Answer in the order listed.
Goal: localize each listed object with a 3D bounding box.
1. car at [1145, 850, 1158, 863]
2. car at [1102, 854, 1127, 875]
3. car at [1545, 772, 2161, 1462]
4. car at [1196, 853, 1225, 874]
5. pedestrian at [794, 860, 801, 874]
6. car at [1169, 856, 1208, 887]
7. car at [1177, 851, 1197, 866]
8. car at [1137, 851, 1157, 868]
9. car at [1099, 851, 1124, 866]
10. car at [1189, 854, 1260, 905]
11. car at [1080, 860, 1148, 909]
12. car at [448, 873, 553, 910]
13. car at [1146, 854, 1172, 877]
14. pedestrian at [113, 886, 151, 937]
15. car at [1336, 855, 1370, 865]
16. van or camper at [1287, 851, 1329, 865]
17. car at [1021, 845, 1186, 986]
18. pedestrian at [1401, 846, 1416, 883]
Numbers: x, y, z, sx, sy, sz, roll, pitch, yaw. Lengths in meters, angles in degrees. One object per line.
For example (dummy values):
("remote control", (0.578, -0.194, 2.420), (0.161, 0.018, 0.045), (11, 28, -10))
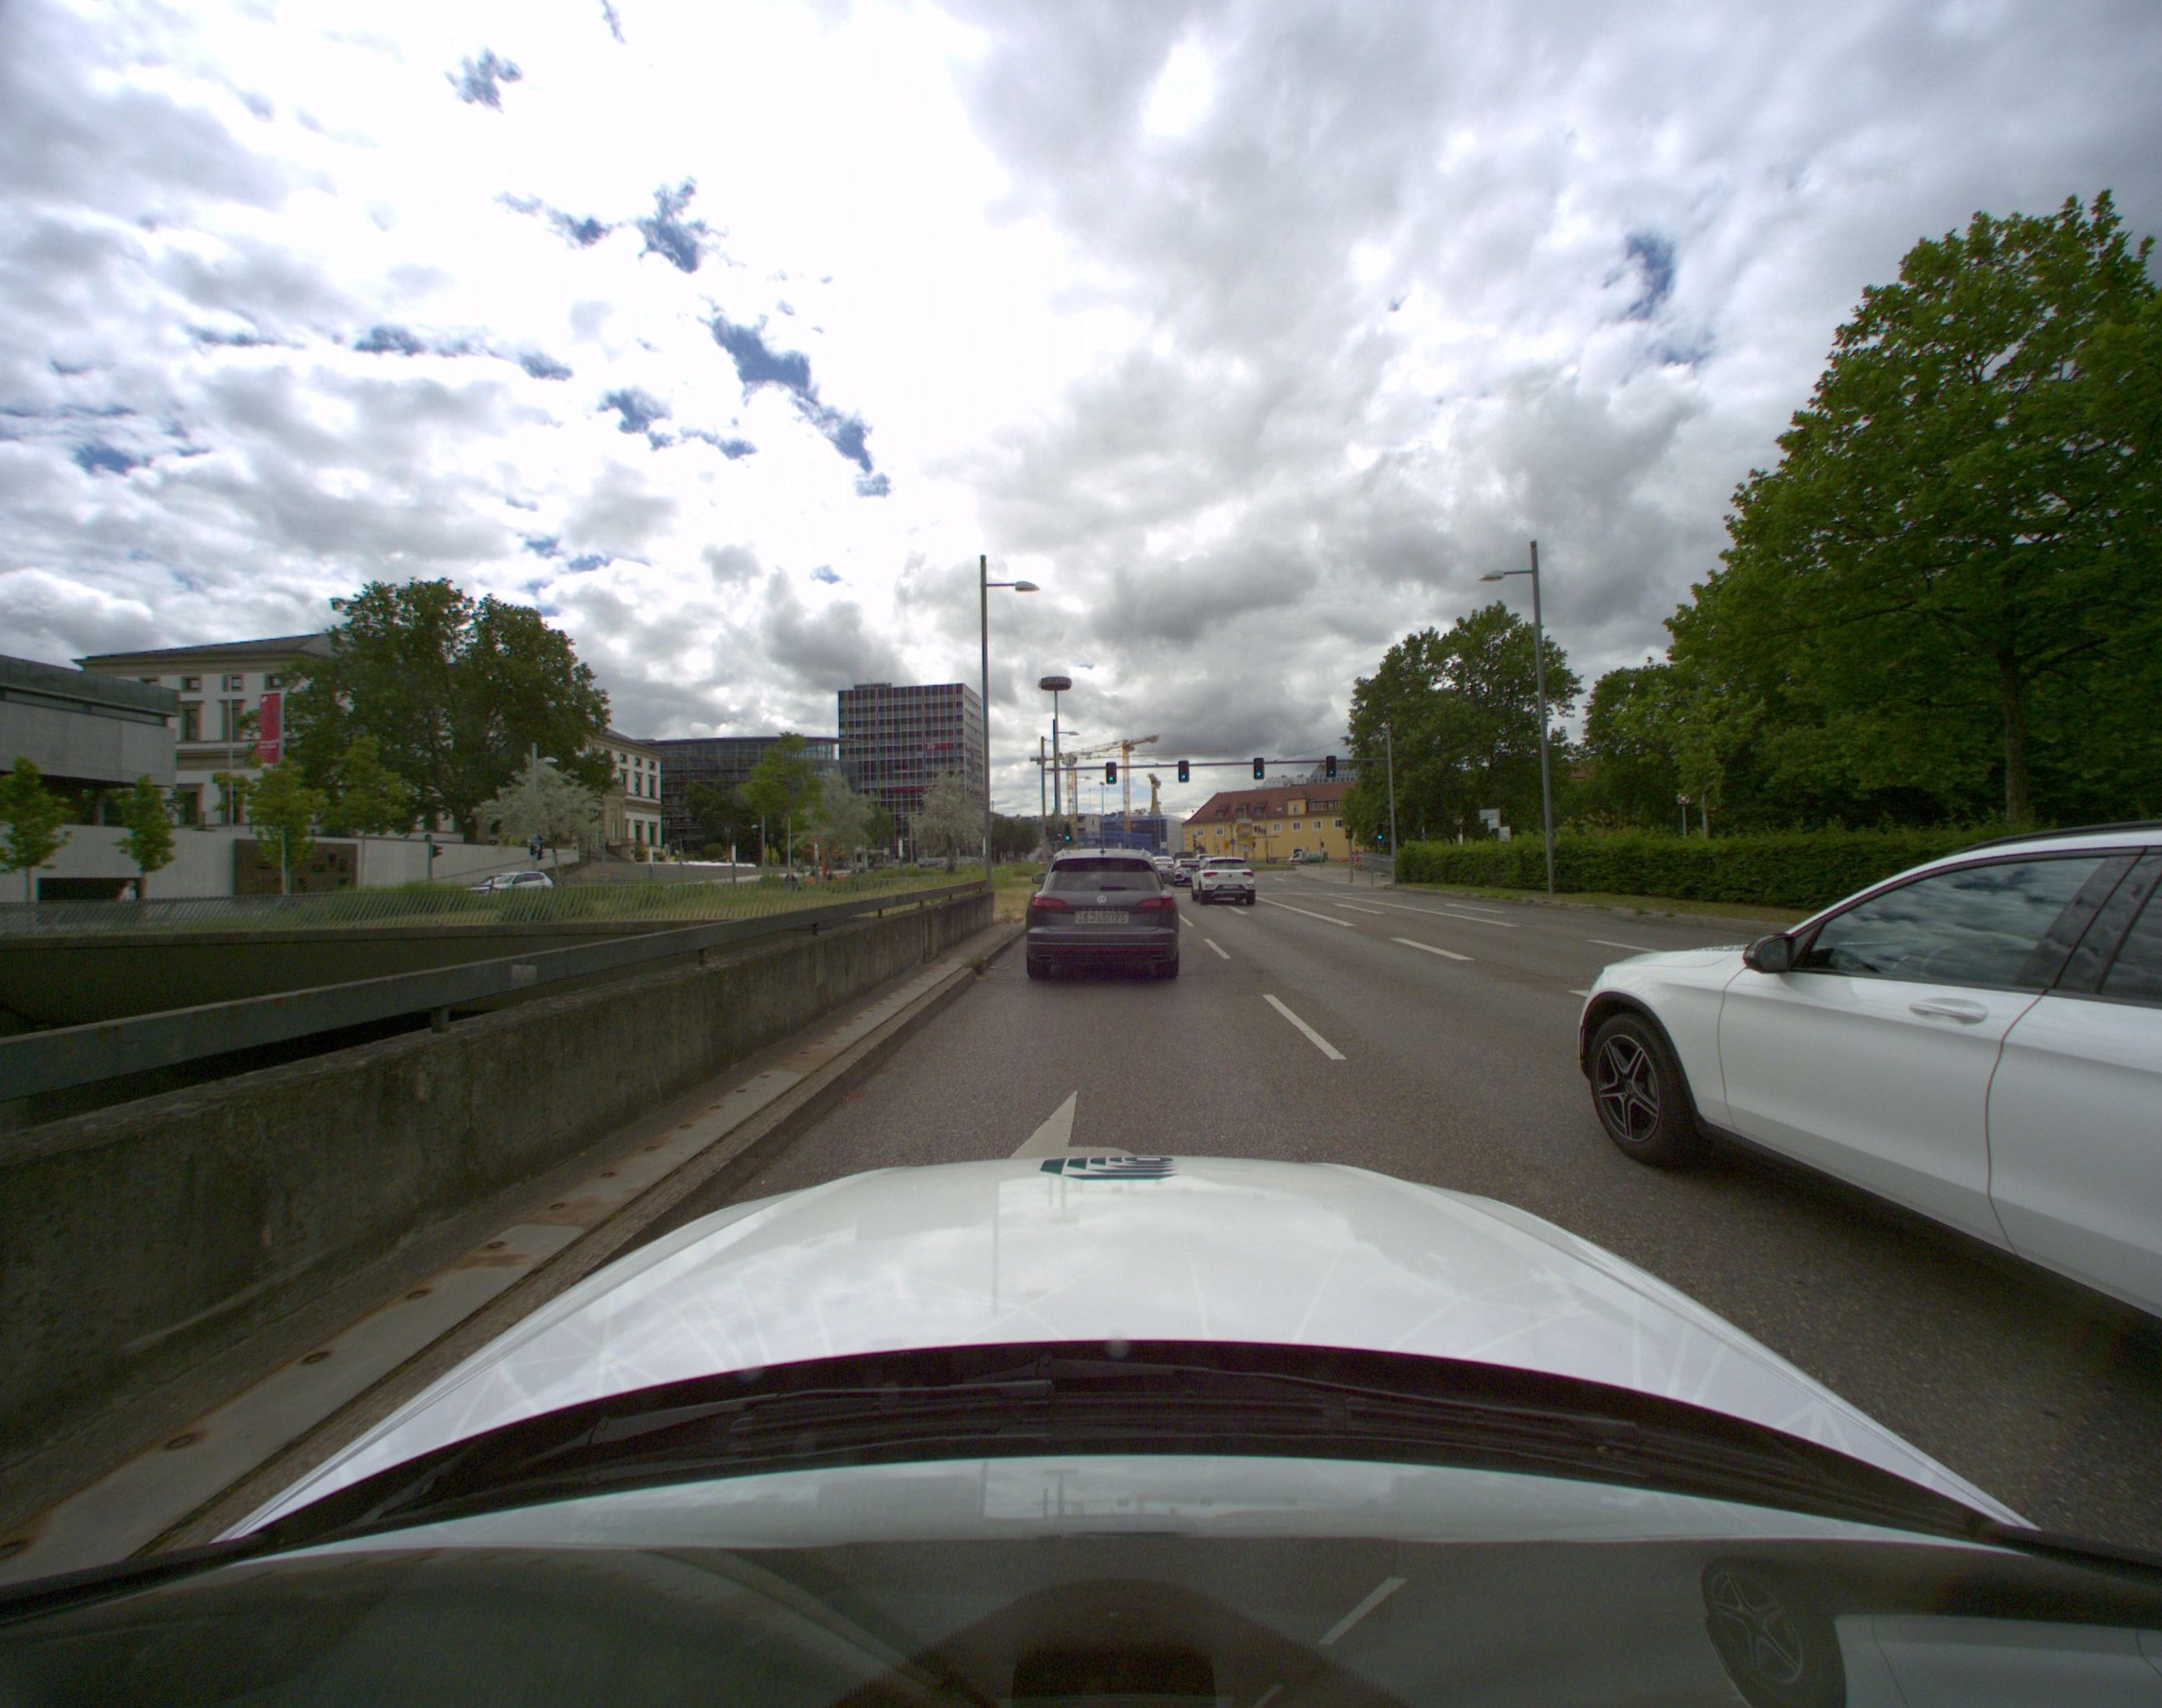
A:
("car", (11.319, 0.394, 130.750), (1.986, 2.013, 4.002), (-1, 0, 2))
("car", (2.548, 0.772, 62.357), (1.807, 1.496, 3.908), (-1, 0, 2))
("car", (3.521, 0.618, 2.586), (1.811, 1.647, 4.383), (-1, 0, 4))
("car", (9.896, 0.690, 62.374), (1.795, 1.502, 3.985), (-1, 0, 3))
("pedestrian", (-32.867, 1.510, 94.427), (0.522, 1.649, 0.651), (0, -1, 1))
("car", (5.562, 0.857, 42.467), (1.711, 1.502, 4.148), (-1, 0, 4))
("car", (10.644, 0.443, 82.195), (1.711, 1.502, 3.985), (0, 0, 4))
("car", (7.196, 0.605, 89.489), (2.130, 1.728, 4.074), (-1, -1, 4))
("car", (3.248, 0.481, 87.886), (2.239, 1.502, 4.606), (-1, 0, -3))
("car", (4.788, 0.792, 27.581), (1.886, 1.585, 3.803), (-1, 0, 2))
("car", (1.067, 0.919, 26.098), (1.986, 1.387, 4.002), (-1, 0, 2))
("car", (-29.014, 1.828, 40.886), (1.711, 1.574, 4.617), (-1, 0, 4))
("car", (5.437, 0.773, 56.316), (1.710, 1.502, 3.988), (-1, 0, 6))
("pedestrian", (-33.399, 2.012, 28.673), (0.538, 1.733, 0.664), (-1, 0, 2))
("car", (40.895, 0.928, 122.550), (4.632, 1.420, 1.607), (-1, -1, 34))
("van or camper", (35.250, 0.625, 126.705), (5.947, 2.014, 2.032), (-1, -1, 38))
("car", (0.347, 0.722, 11.564), (1.925, 1.647, 4.002), (-1, 0, 2))
("pedestrian", (15.688, 0.491, 39.010), (0.477, 1.764, 0.620), (-1, -1, -1))
